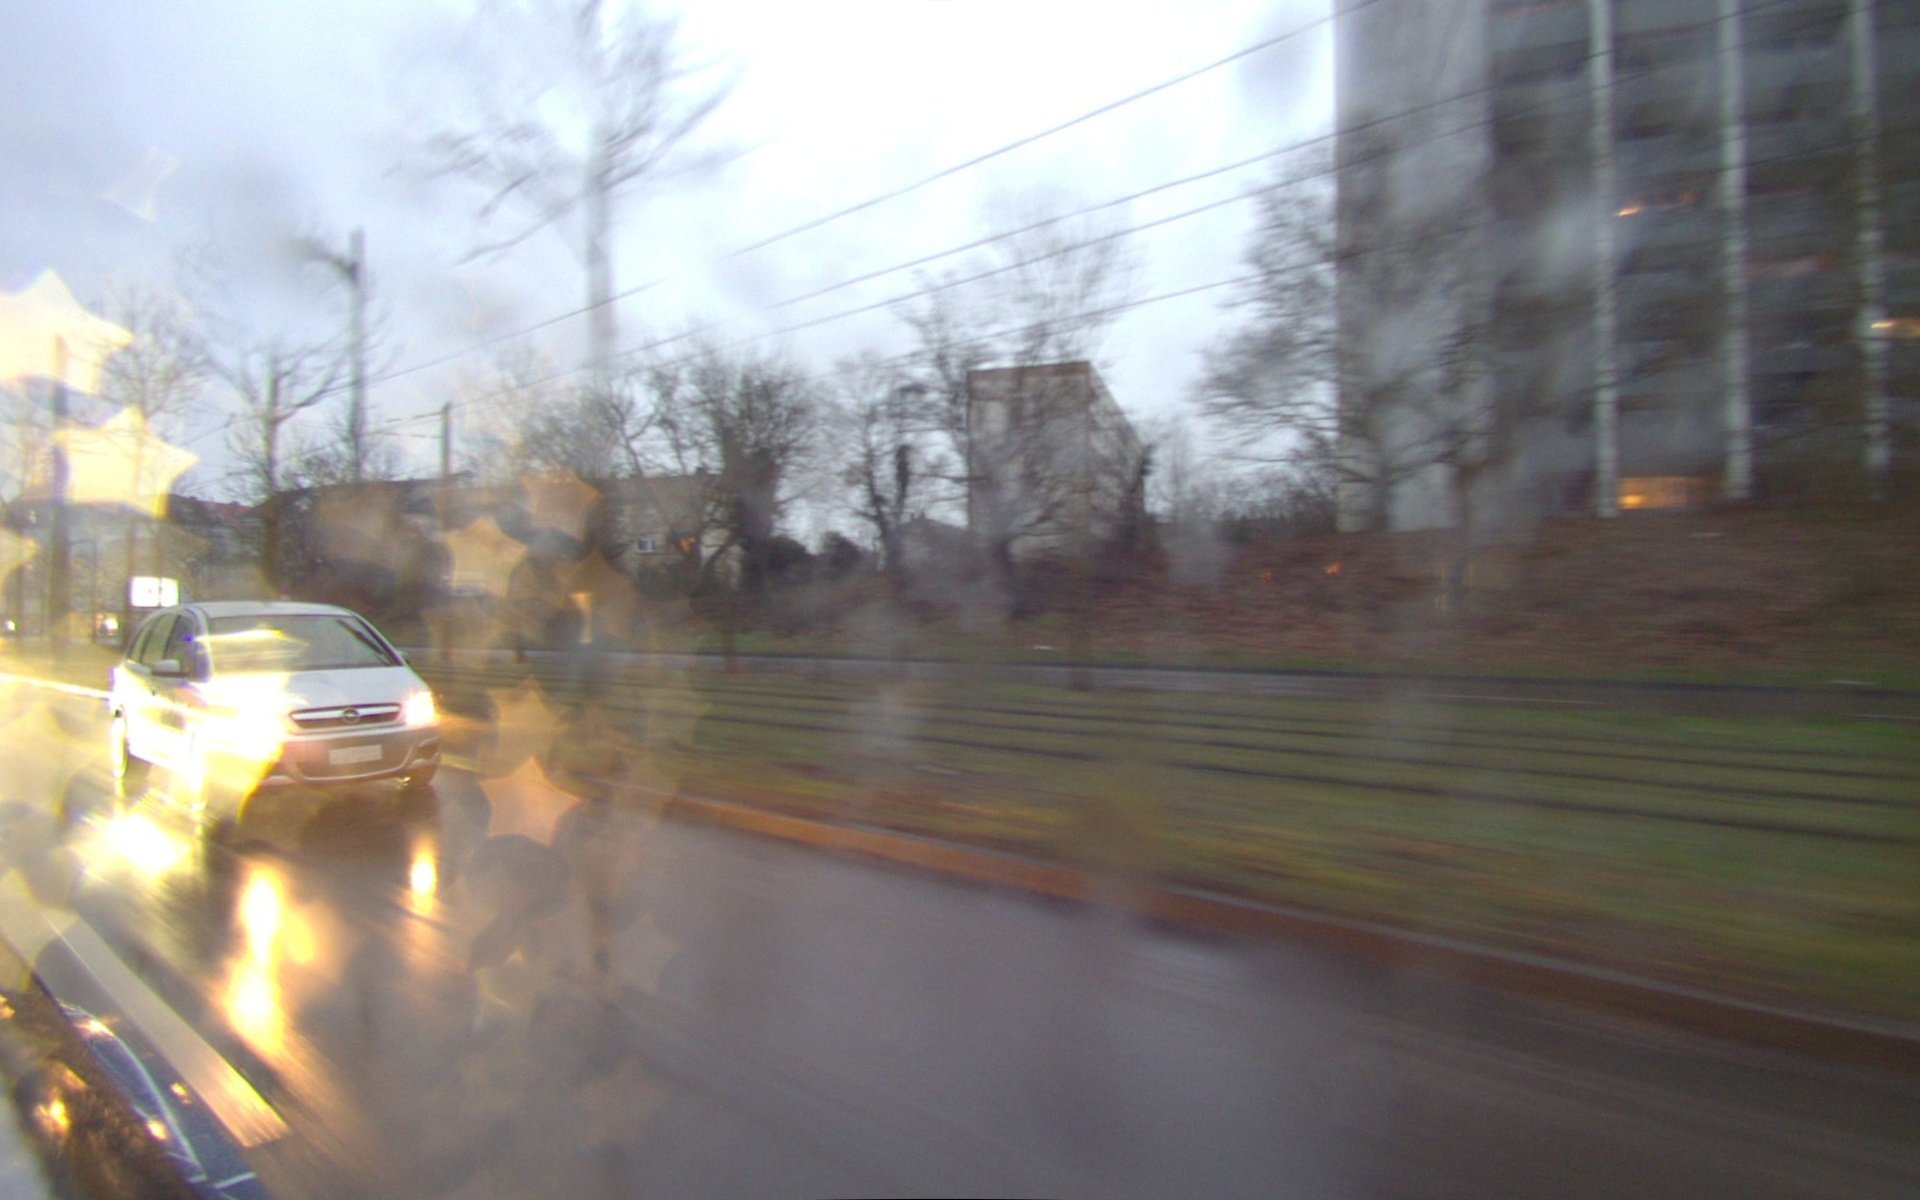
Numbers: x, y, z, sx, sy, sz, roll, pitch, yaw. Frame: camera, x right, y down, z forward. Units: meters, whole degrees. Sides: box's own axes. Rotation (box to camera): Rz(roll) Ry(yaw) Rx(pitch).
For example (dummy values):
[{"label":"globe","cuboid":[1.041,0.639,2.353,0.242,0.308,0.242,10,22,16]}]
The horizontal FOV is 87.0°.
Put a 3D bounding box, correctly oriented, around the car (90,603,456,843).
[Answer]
[{"label":"car","cuboid":[-6.027,0.868,8.702,3.920,1.587,1.648,-2,-1,41]}]
